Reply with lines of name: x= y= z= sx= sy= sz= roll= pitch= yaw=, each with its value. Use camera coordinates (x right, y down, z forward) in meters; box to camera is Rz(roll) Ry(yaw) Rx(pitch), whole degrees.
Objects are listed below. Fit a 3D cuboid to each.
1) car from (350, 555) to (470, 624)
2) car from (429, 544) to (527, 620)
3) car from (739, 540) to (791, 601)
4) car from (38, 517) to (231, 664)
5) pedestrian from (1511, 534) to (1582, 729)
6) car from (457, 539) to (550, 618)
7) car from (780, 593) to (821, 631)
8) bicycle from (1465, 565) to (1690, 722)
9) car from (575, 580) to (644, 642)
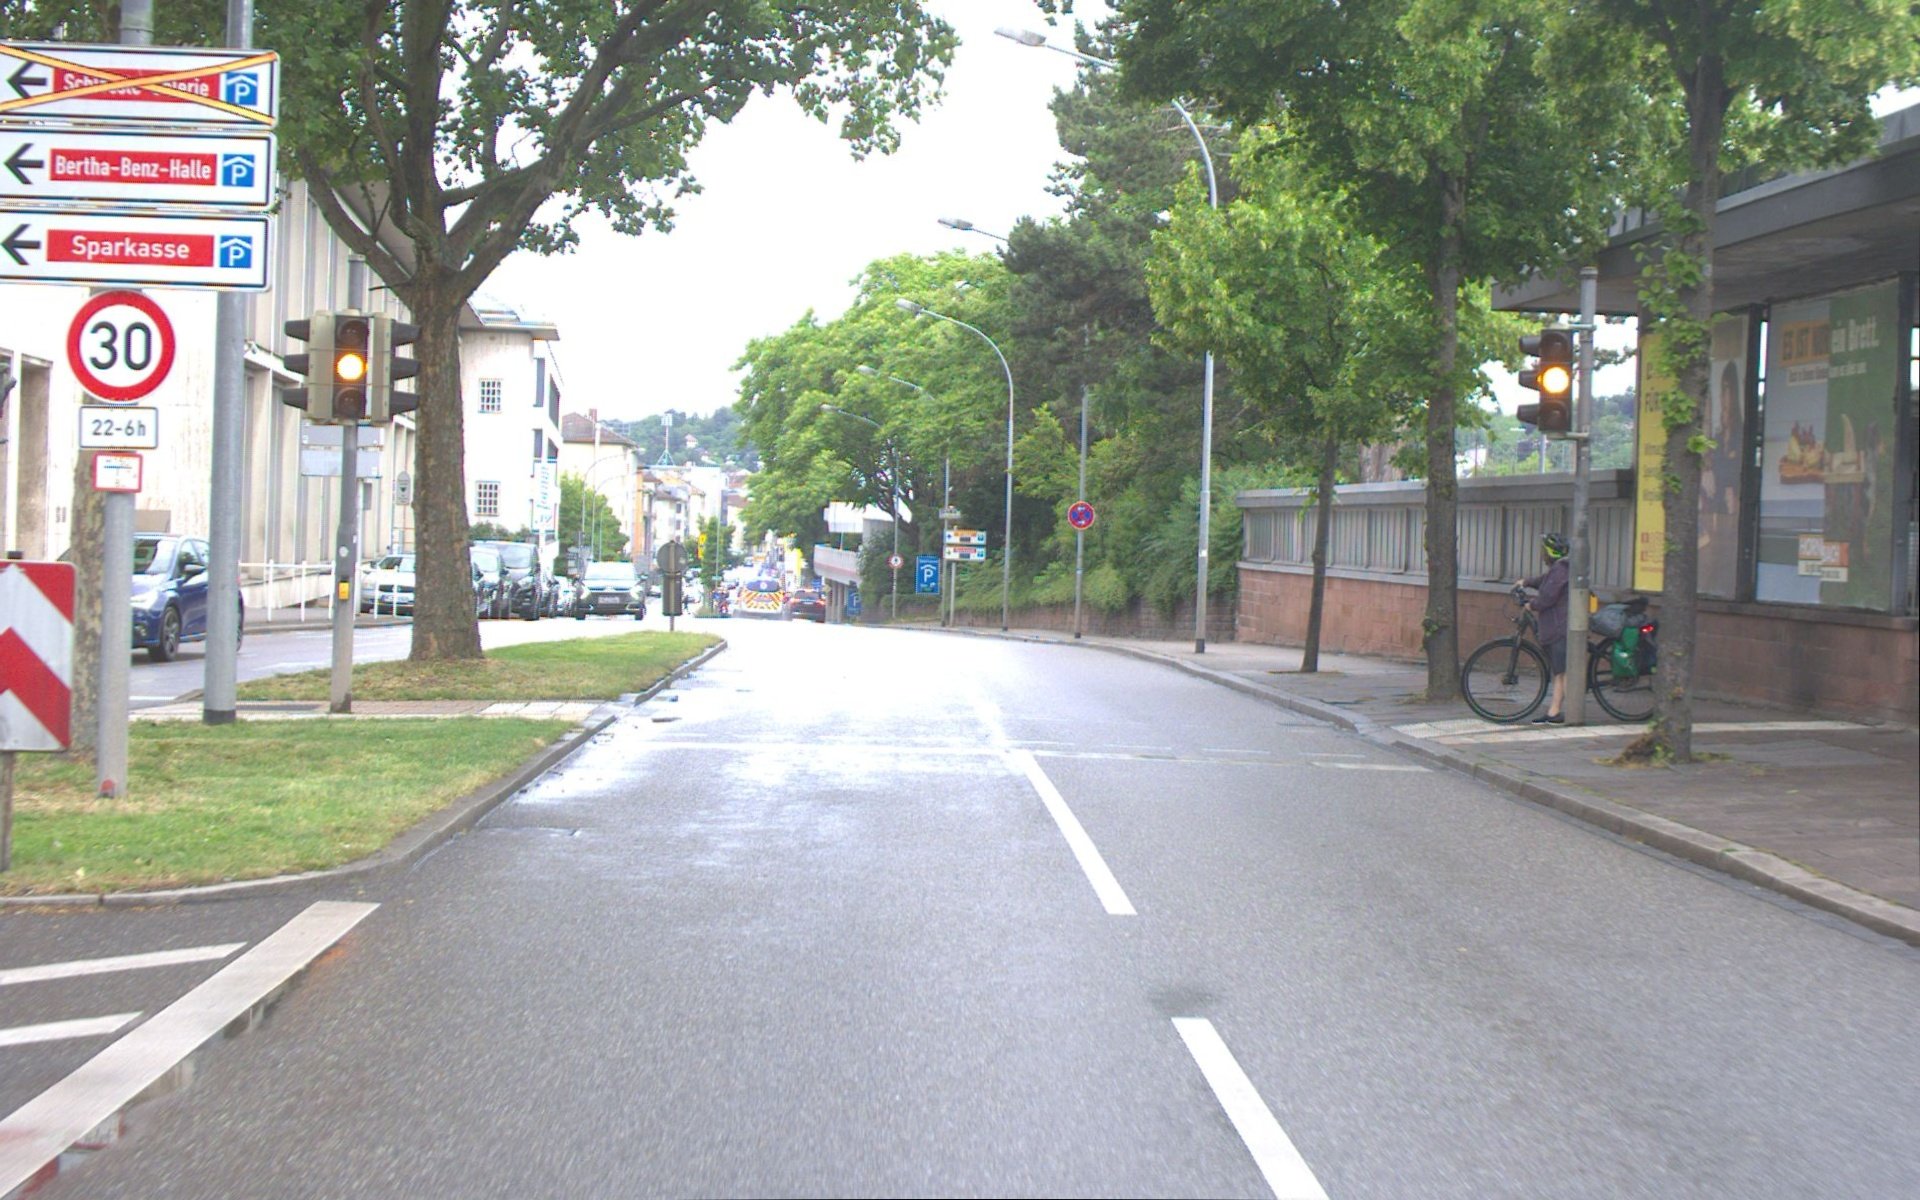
car: x=-11.145 y=-0.212 z=69.896 sx=1.691 sy=1.293 sz=4.093 roll=2 pitch=0 yaw=0
car: x=-11.353 y=-0.423 z=81.194 sx=1.797 sy=1.670 sz=4.604 roll=2 pitch=0 yaw=-2
car: x=-8.747 y=-1.343 z=153.966 sx=2.264 sy=2.647 sz=4.001 roll=0 pitch=1 yaw=-3
car: x=-9.465 y=-0.154 z=39.687 sx=1.841 sy=1.503 sz=4.104 roll=3 pitch=1 yaw=-10
pedestrian: x=4.737 y=0.248 z=27.760 sx=0.457 sy=1.563 sz=0.392 roll=0 pitch=1 yaw=30
car: x=-11.849 y=-0.553 z=89.505 sx=1.948 sy=1.937 sz=4.996 roll=2 pitch=0 yaw=-3
car: x=-8.486 y=0.640 z=182.520 sx=2.091 sy=1.904 sz=4.100 roll=0 pitch=1 yaw=-4
bicycle: x=5.018 y=0.351 z=27.983 sx=1.723 sy=1.244 sz=0.485 roll=0 pitch=1 yaw=30
car: x=-9.775 y=0.291 z=96.127 sx=1.821 sy=1.655 sz=4.338 roll=1 pitch=1 yaw=-5
